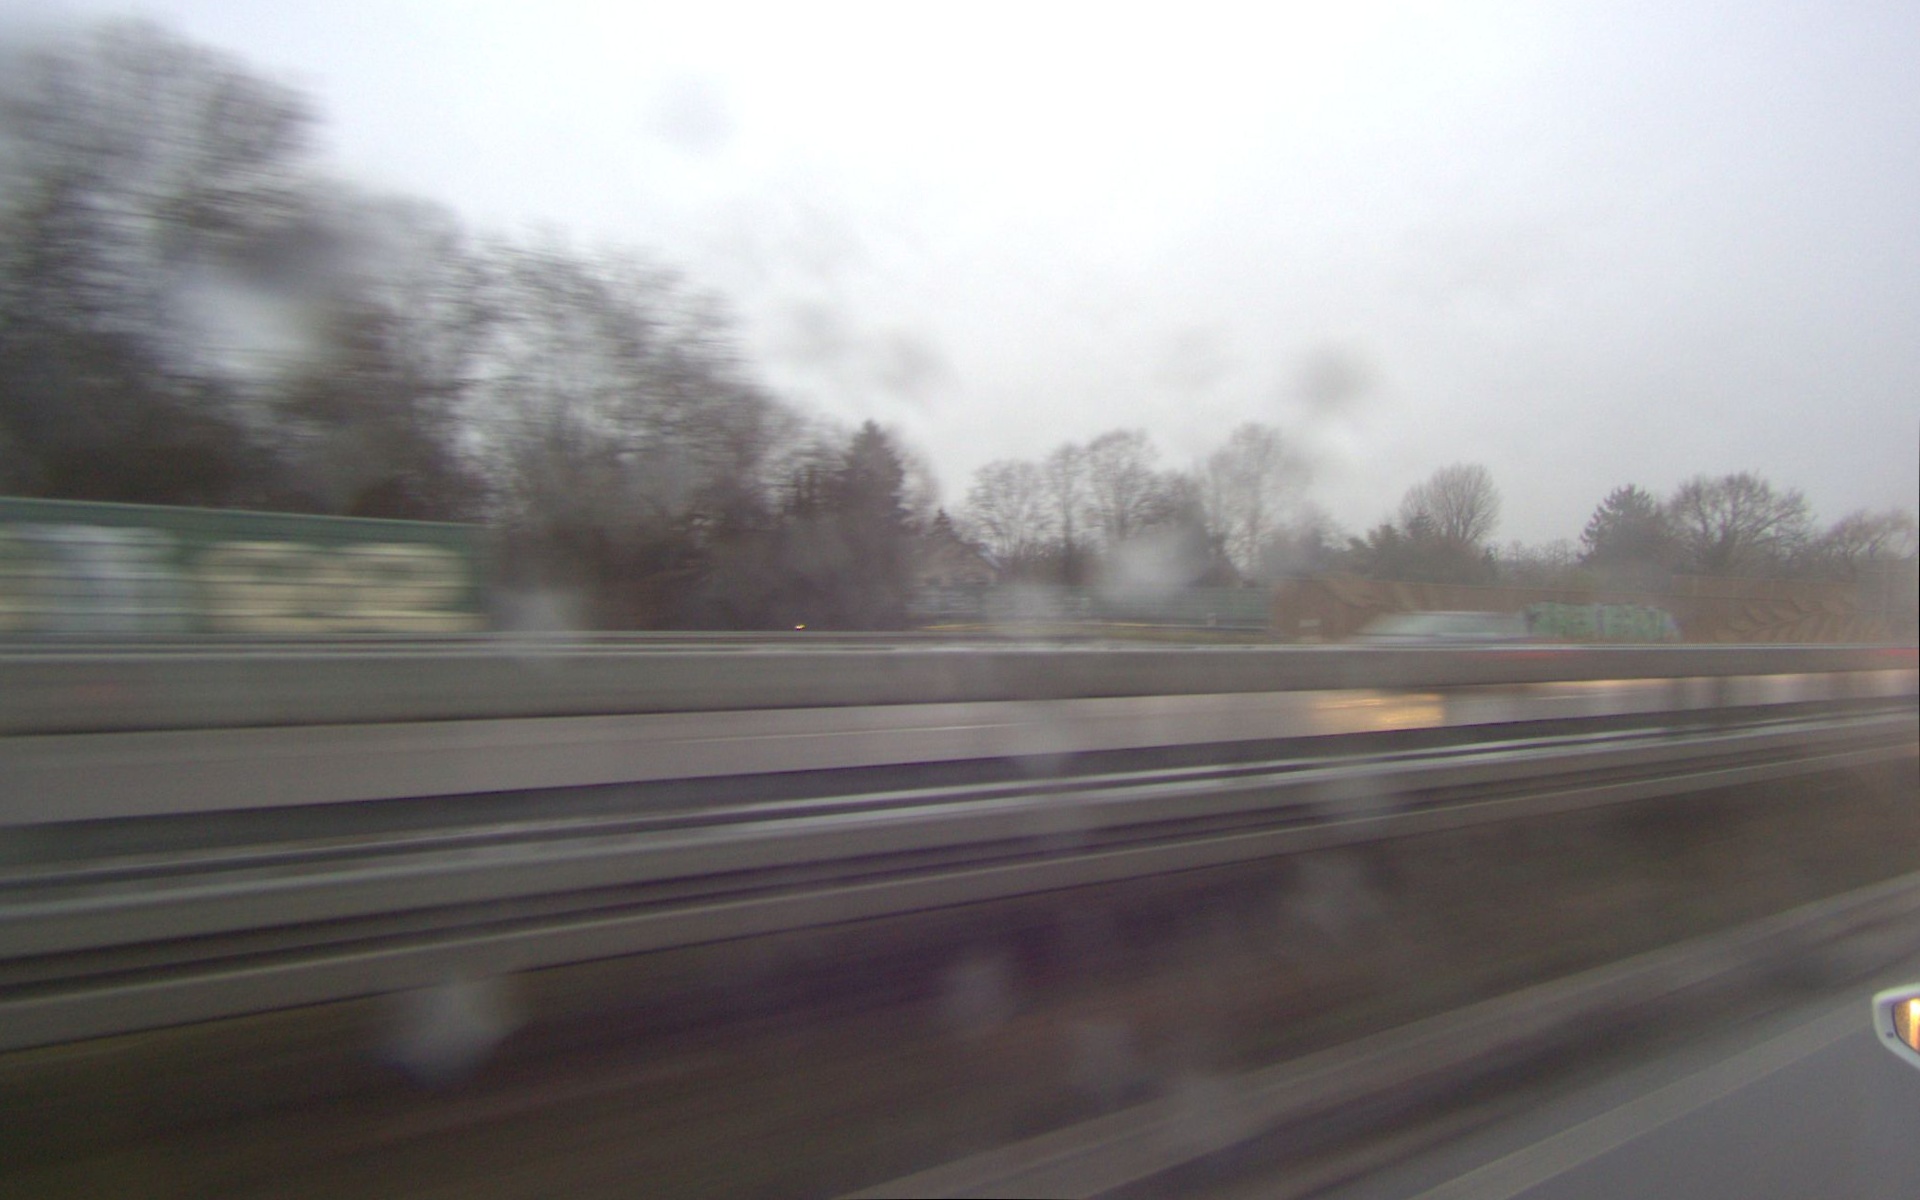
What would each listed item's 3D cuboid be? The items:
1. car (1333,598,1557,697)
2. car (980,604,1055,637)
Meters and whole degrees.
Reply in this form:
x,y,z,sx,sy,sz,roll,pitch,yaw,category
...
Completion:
x,y,z,sx,sy,sz,roll,pitch,yaw,category
8.922,0.837,18.403,4.131,1.629,1.718,2,0,-31,car
2.922,1.029,51.381,1.871,1.539,3.964,1,0,-32,car
